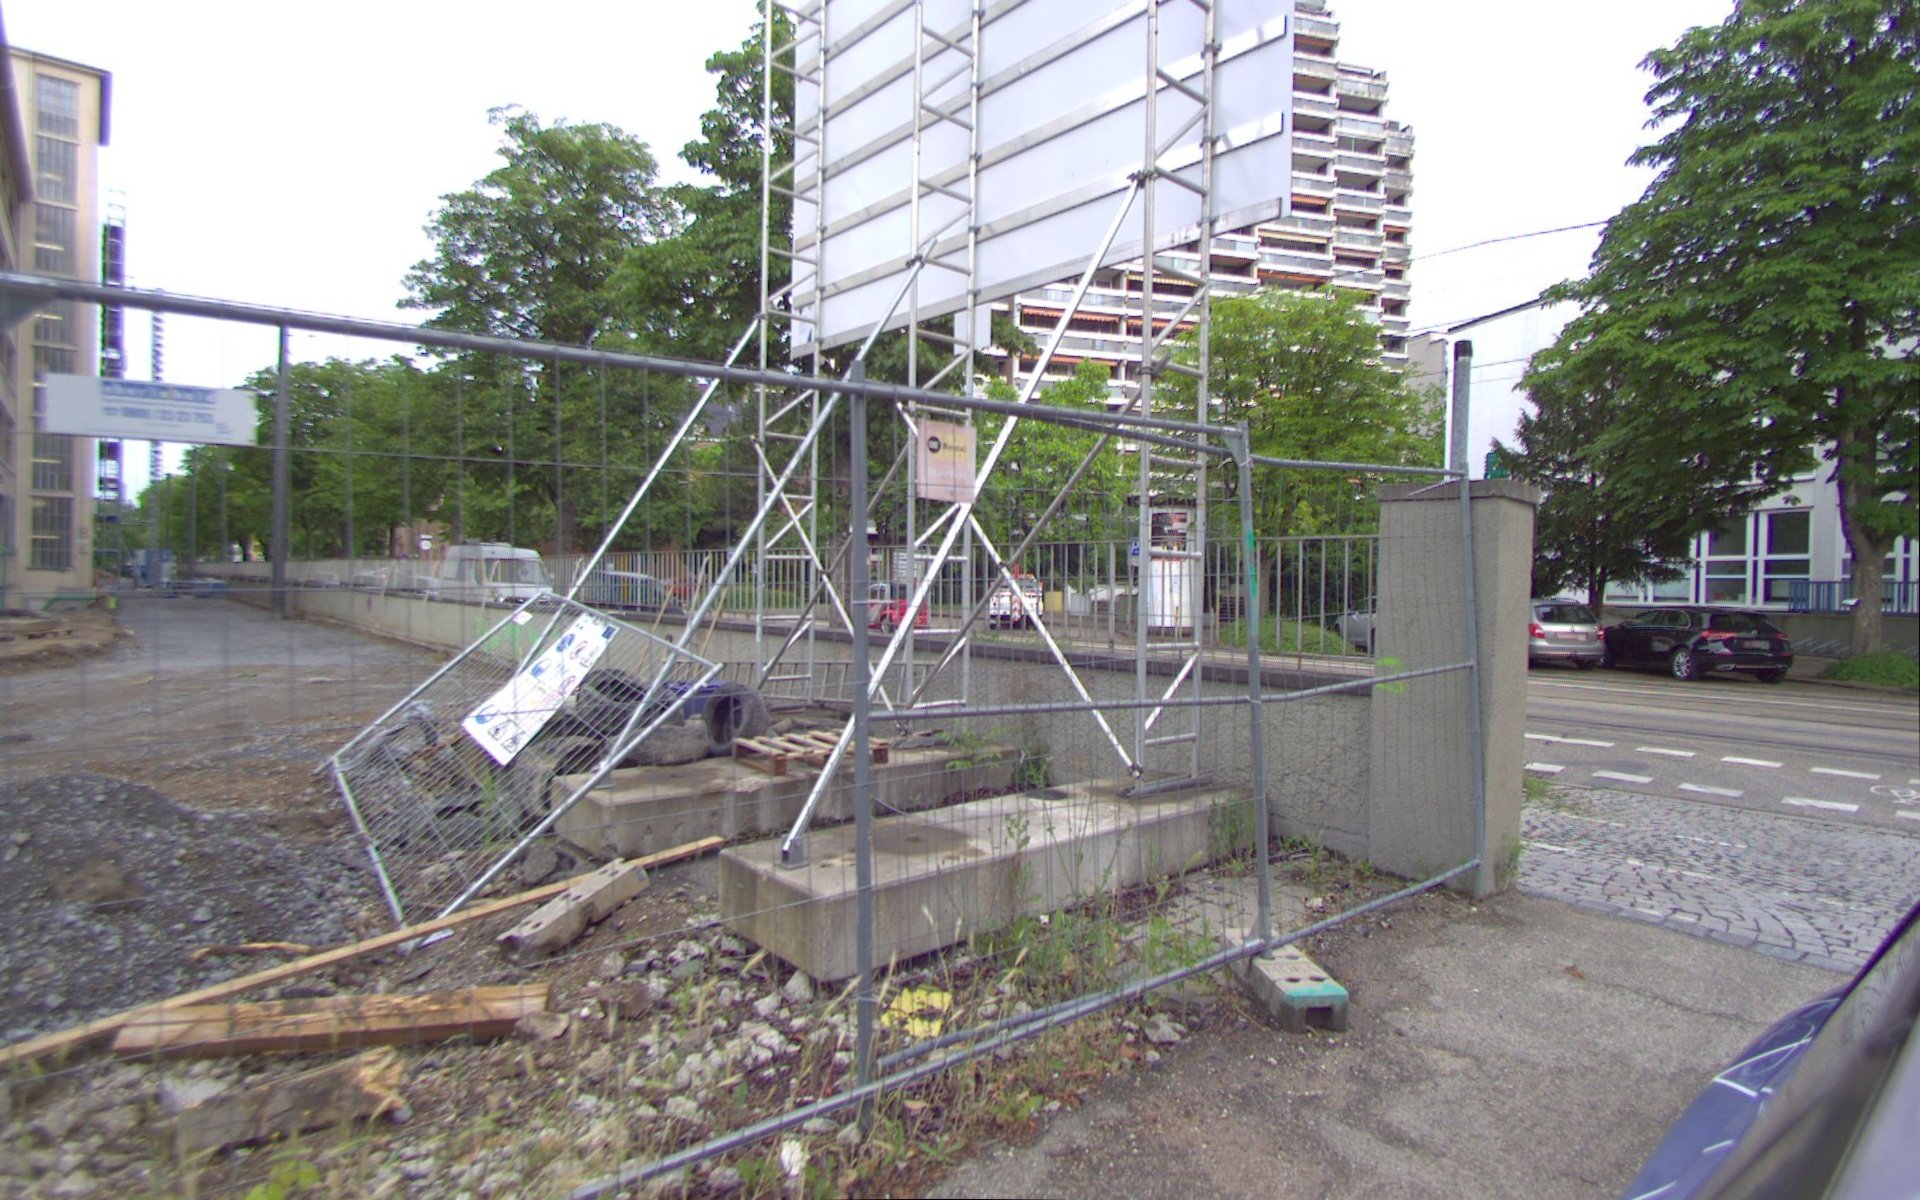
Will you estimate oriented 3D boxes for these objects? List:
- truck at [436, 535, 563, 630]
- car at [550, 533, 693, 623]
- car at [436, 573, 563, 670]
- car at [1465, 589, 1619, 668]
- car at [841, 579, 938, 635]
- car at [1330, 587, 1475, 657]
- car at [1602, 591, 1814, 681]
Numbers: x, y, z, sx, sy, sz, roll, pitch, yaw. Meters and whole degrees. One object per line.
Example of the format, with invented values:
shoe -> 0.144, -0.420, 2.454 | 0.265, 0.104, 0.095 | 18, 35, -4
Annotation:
truck -> -14.055, -0.570, 30.708 | 2.082, 2.634, 5.484 | -1, 2, -40
car -> -7.859, -0.523, 23.289 | 1.630, 1.835, 4.079 | 3, 0, -41
car -> -13.946, 0.522, 30.436 | 2.082, 2.634, 5.485 | 0, 2, -40
car -> 12.882, 0.564, 22.650 | 1.545, 1.543, 3.648 | 0, 2, 5
car -> -2.179, 0.166, 30.871 | 1.653, 1.541, 2.778 | -2, 3, -40
car -> 10.966, 0.485, 25.441 | 1.770, 1.482, 4.432 | 1, 2, 2
car -> 14.751, 0.636, 20.240 | 1.670, 1.543, 3.702 | 0, 2, 5
